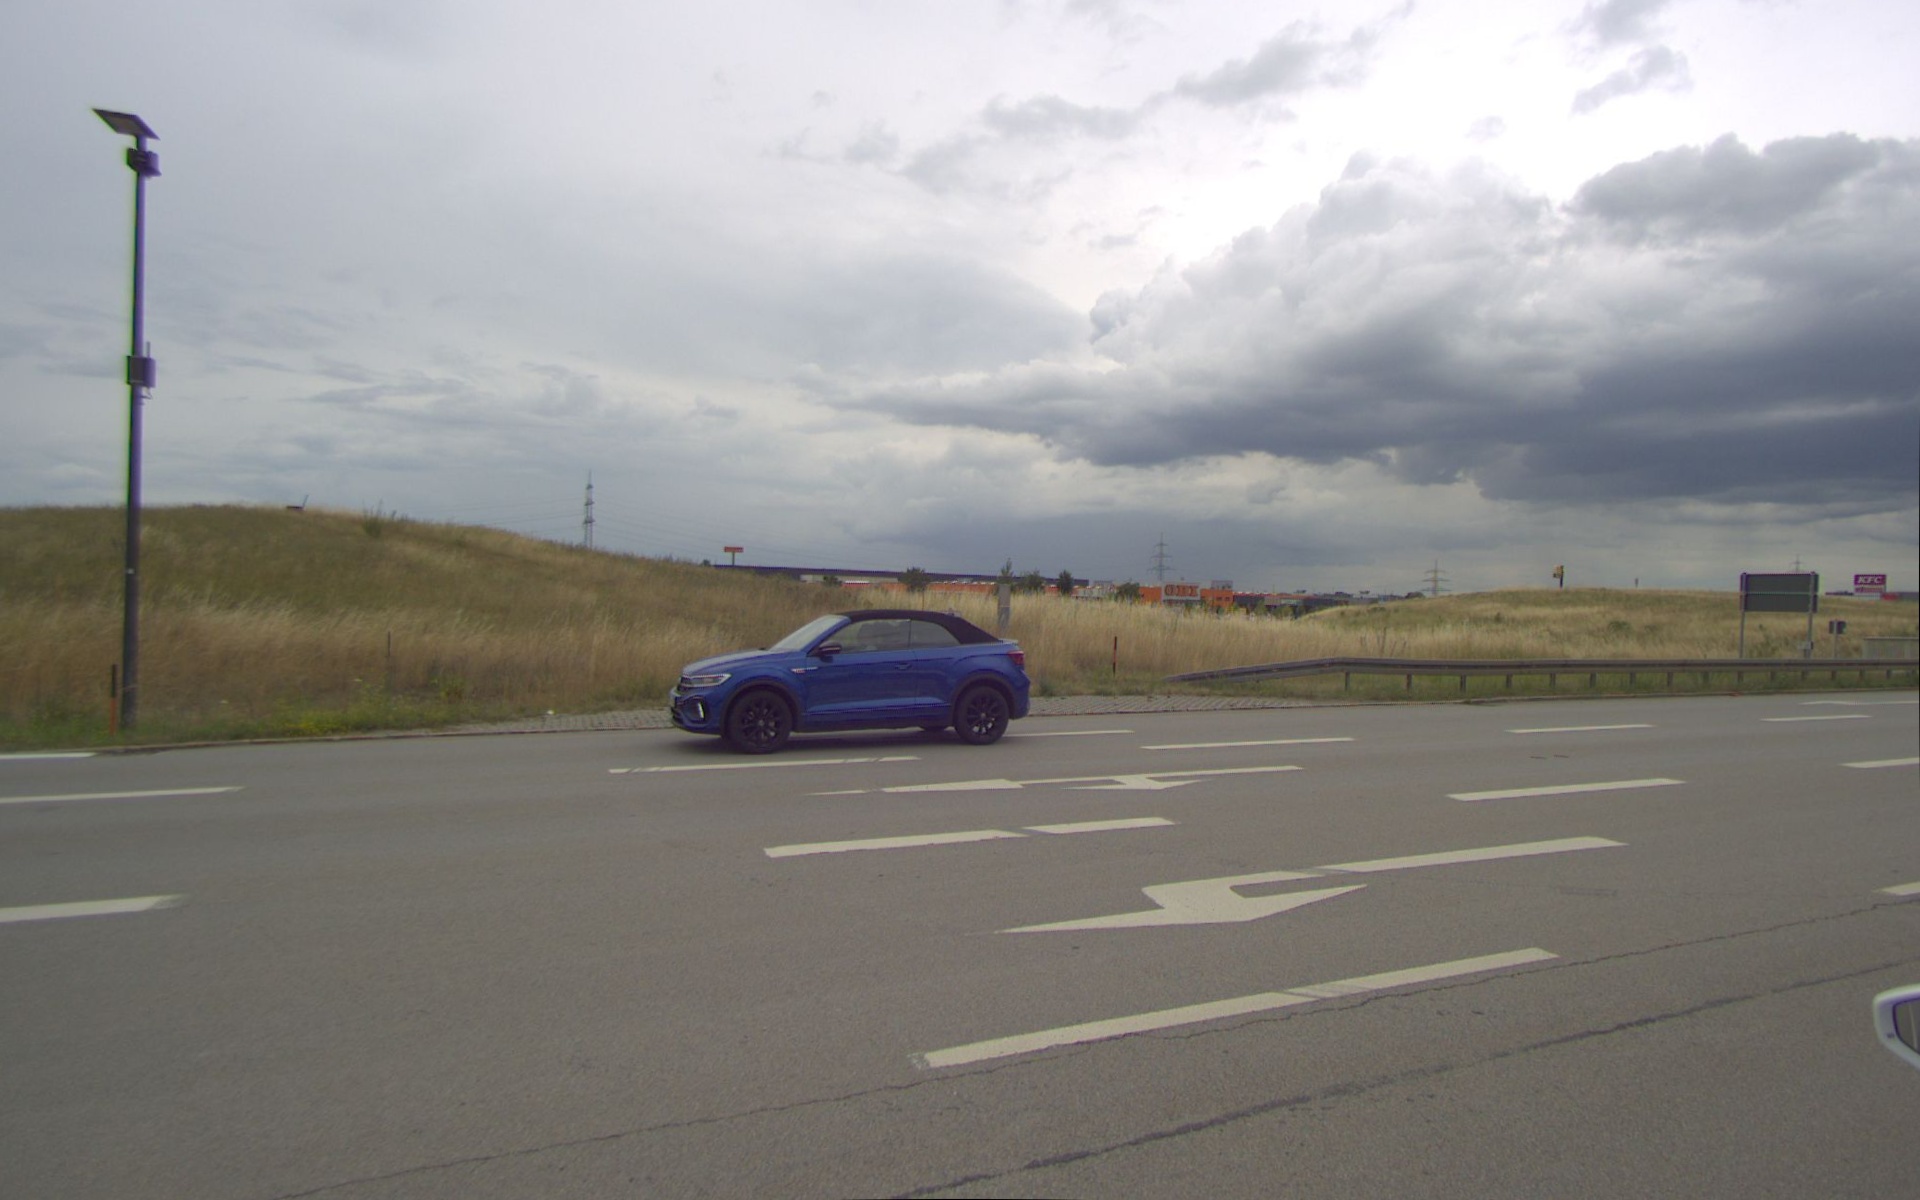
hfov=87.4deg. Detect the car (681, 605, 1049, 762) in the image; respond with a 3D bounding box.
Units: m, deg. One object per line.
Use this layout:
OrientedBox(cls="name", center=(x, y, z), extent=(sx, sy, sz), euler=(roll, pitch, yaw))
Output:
OrientedBox(cls="car", center=(-1.114, 0.893, 11.846), extent=(3.946, 1.571, 1.792), euler=(1, 0, -25))
